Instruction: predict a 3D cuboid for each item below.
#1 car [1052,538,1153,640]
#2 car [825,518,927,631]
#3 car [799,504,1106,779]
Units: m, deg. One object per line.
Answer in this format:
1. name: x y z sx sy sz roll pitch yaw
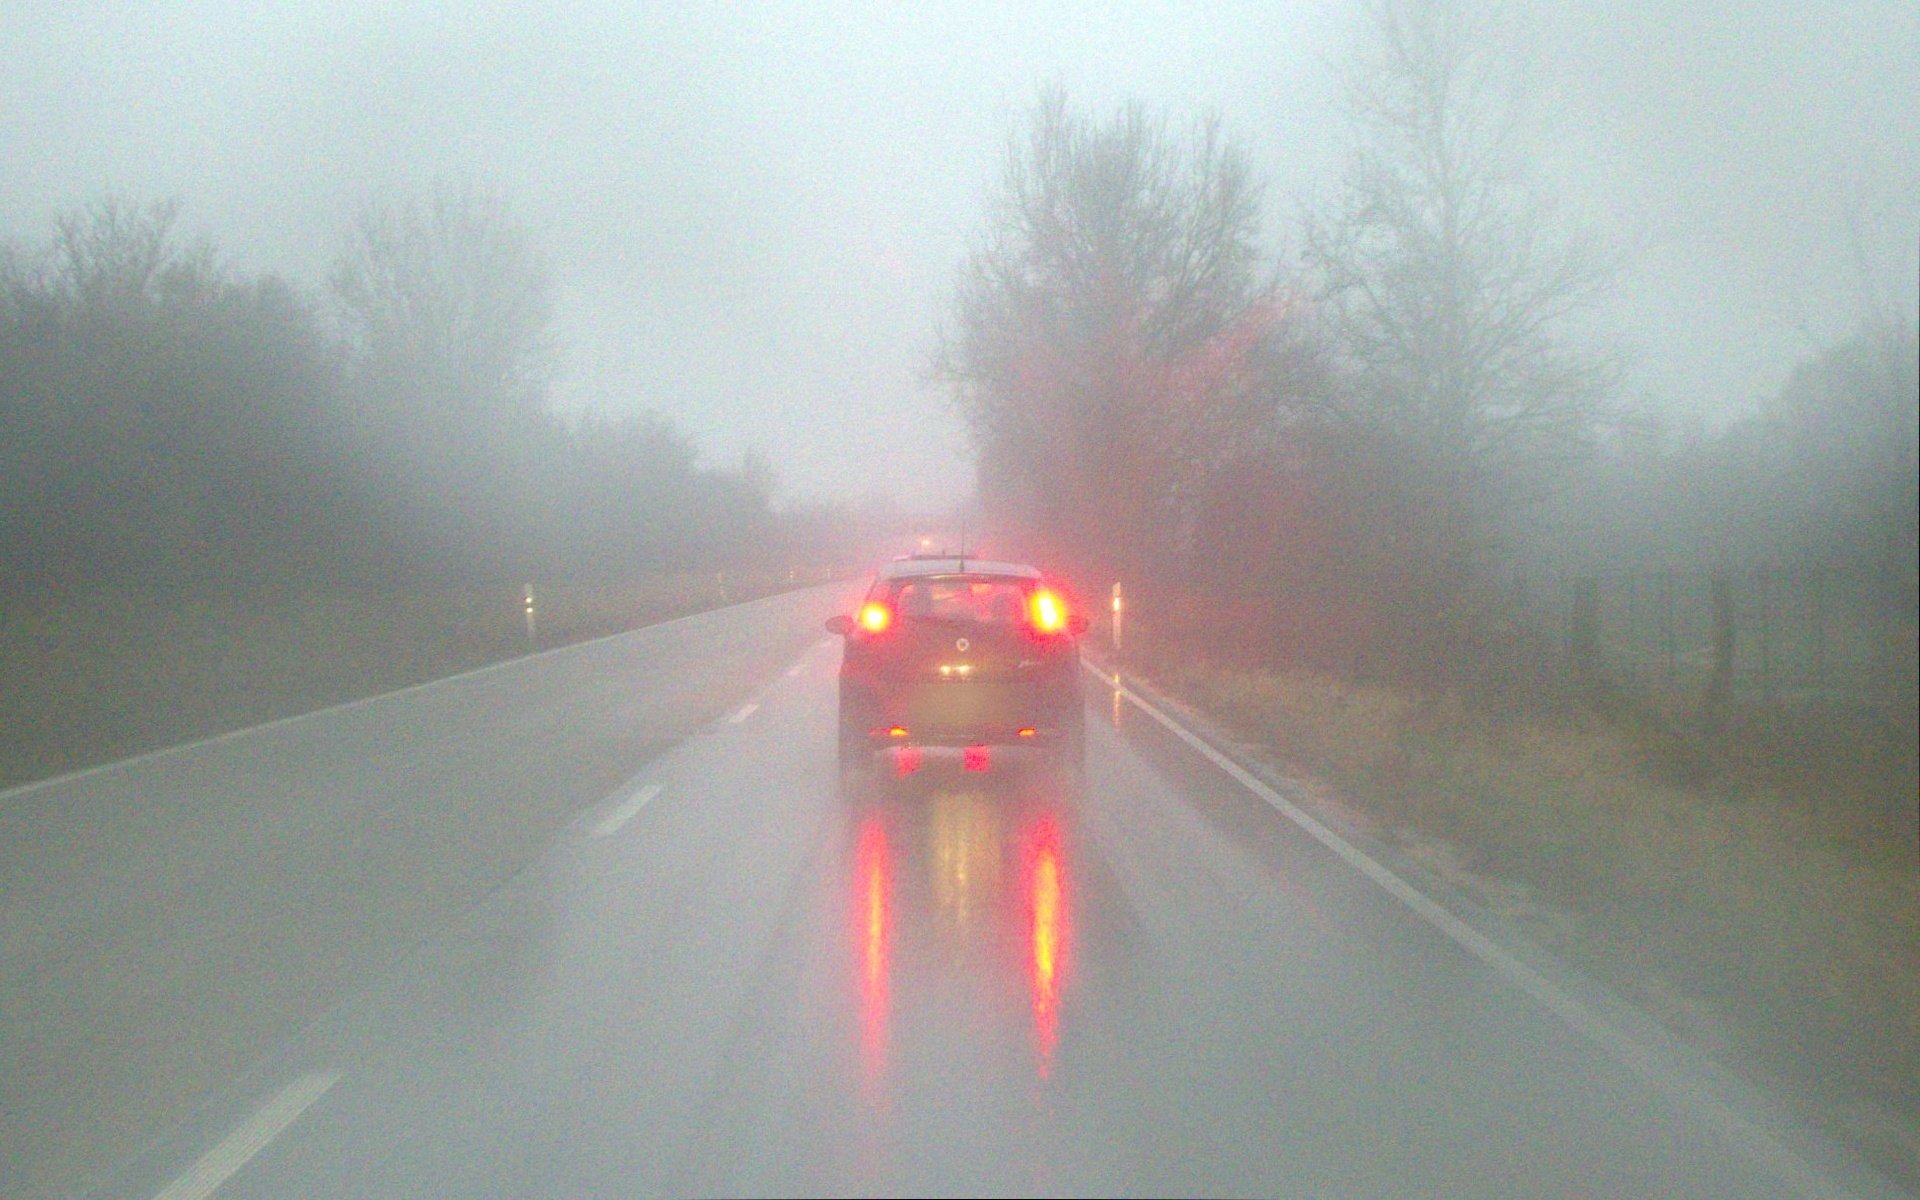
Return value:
1. car: 2.330 -0.209 56.133 1.564 1.586 3.488 1 1 2
2. car: -1.428 -0.464 59.399 1.574 1.868 3.709 1 1 1
3. car: -0.014 0.240 24.612 1.993 1.778 4.000 1 1 1
